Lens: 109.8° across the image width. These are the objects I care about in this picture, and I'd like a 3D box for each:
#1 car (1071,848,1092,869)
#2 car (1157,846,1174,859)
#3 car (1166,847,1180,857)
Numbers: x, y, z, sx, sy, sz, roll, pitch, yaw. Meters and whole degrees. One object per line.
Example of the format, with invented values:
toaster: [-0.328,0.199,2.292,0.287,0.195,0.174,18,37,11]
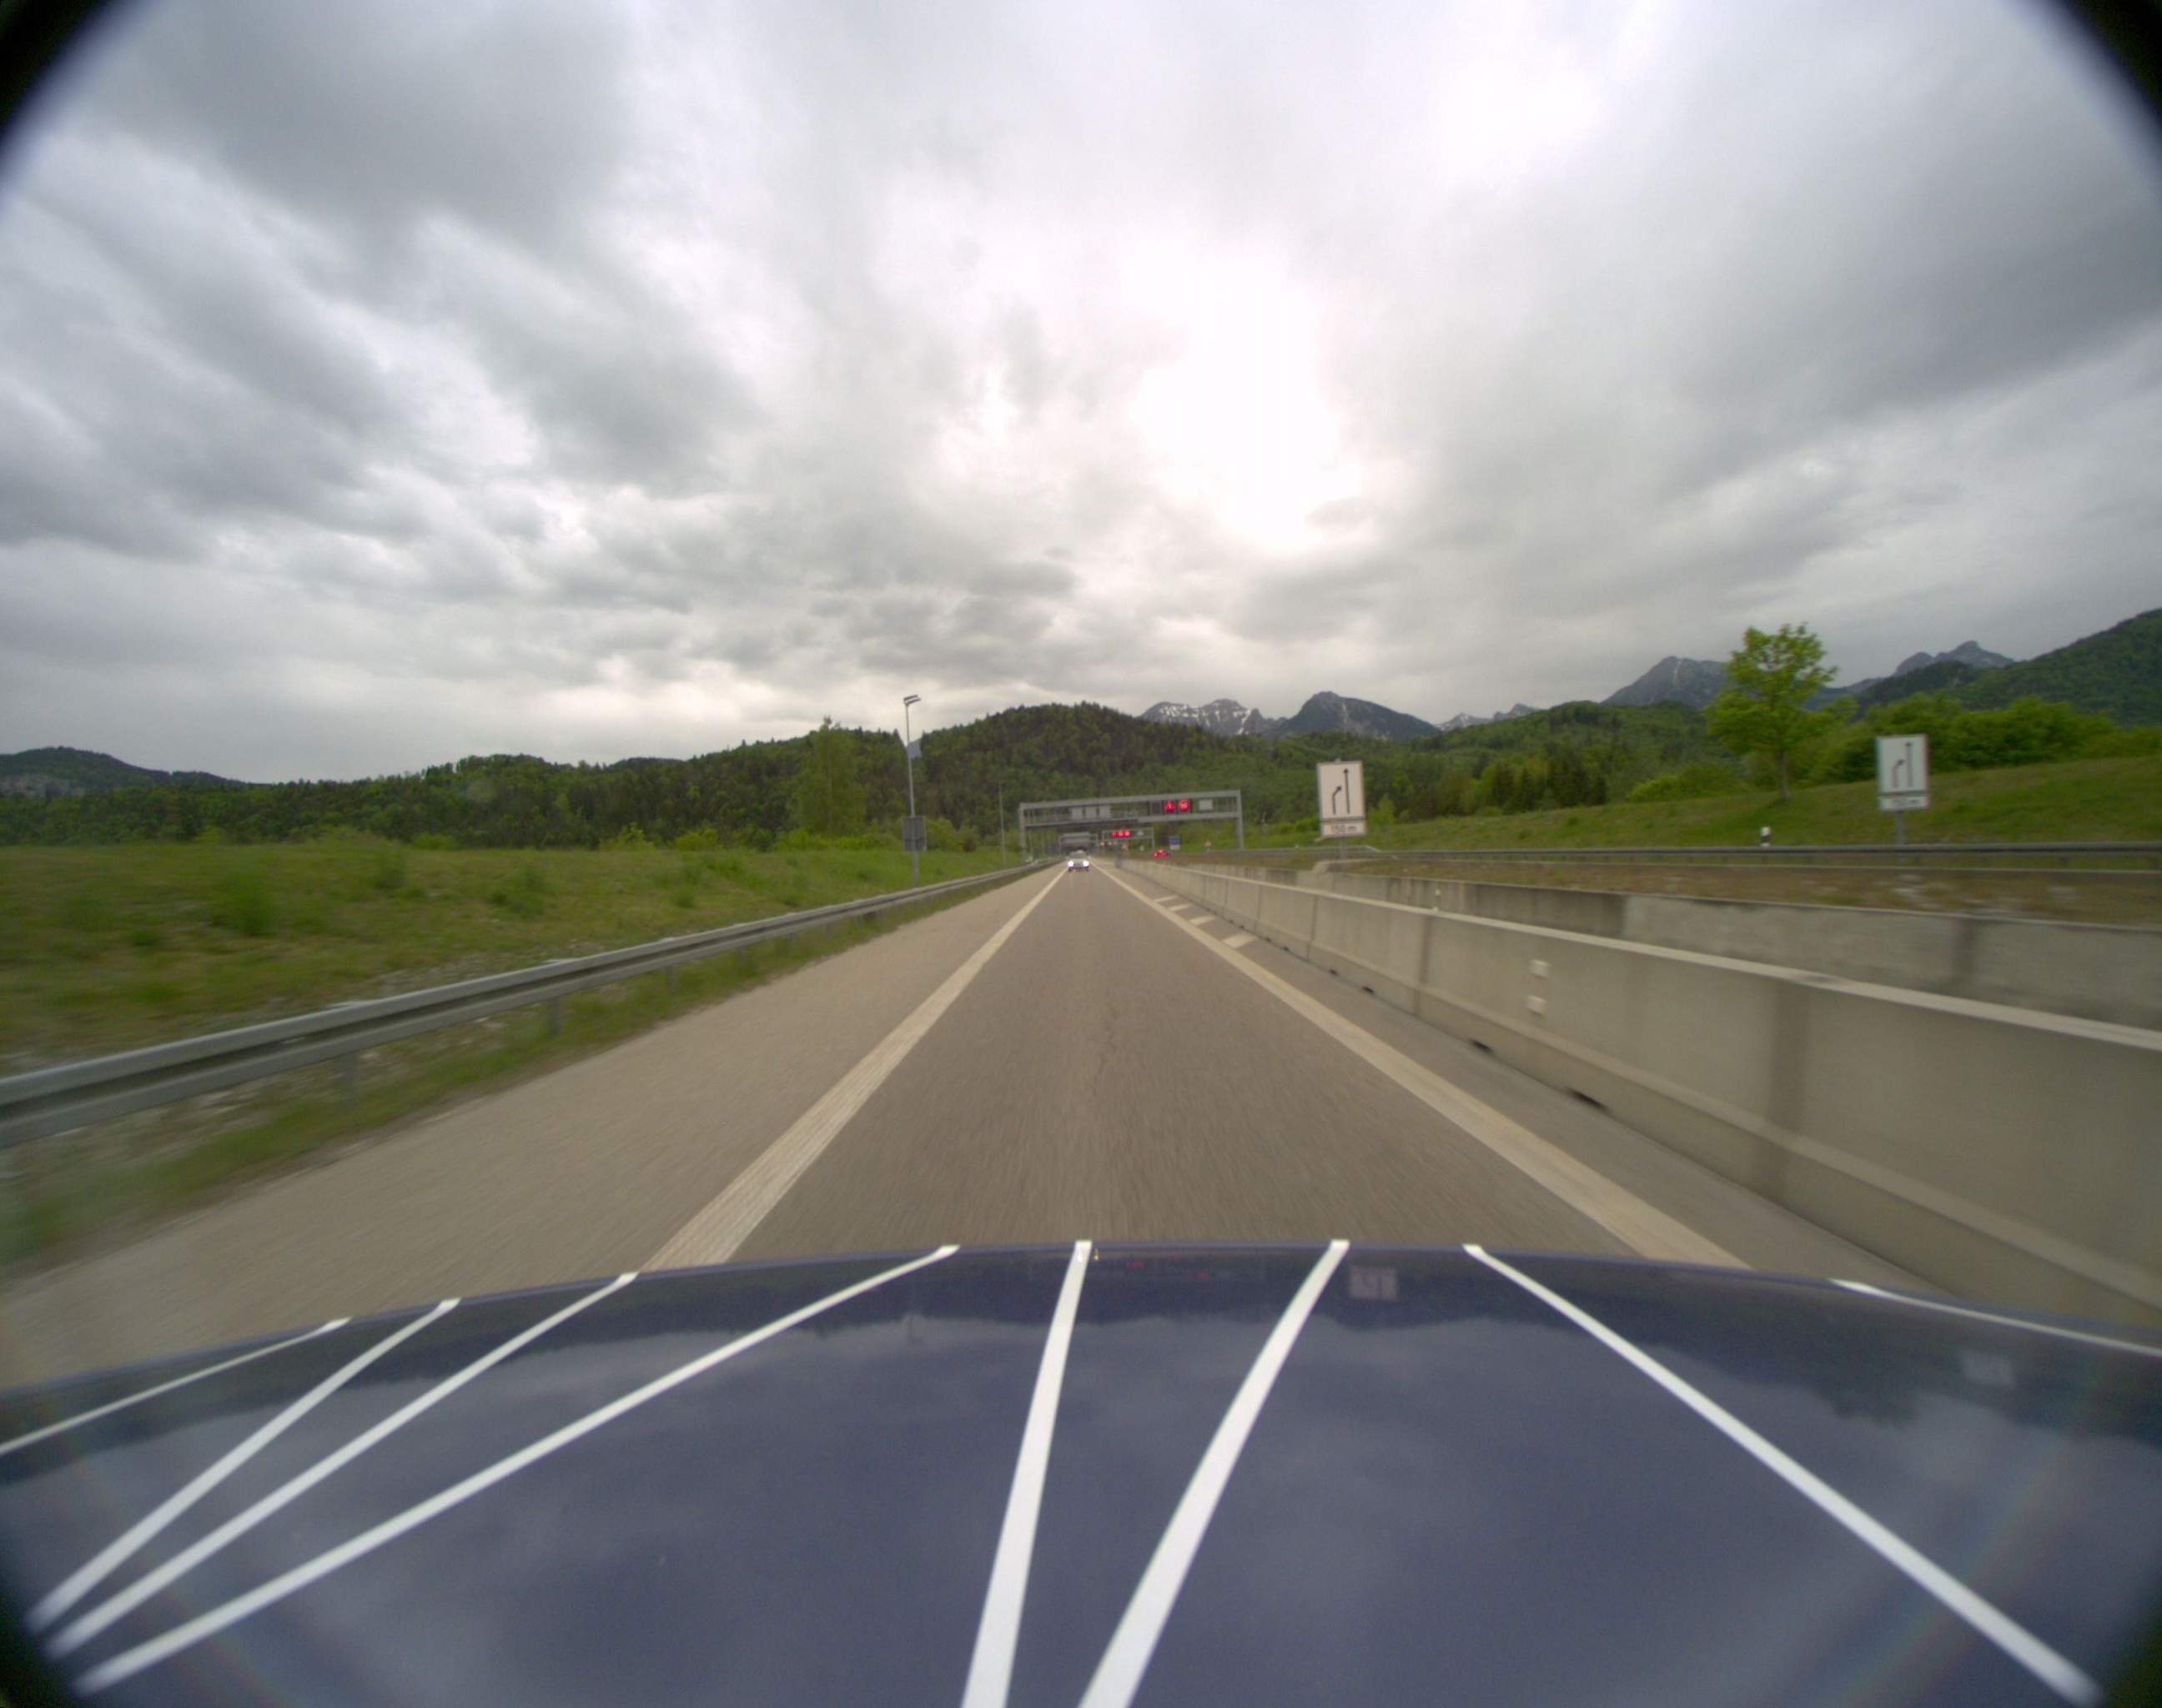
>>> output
car: [0.095,0.426,73.920,1.923,1.871,5.137,-1,1,1]
car: [12.596,-0.224,113.803,1.883,1.726,5.751,-3,0,0]
car: [15.919,-0.362,131.963,1.773,1.598,4.405,-3,0,0]
